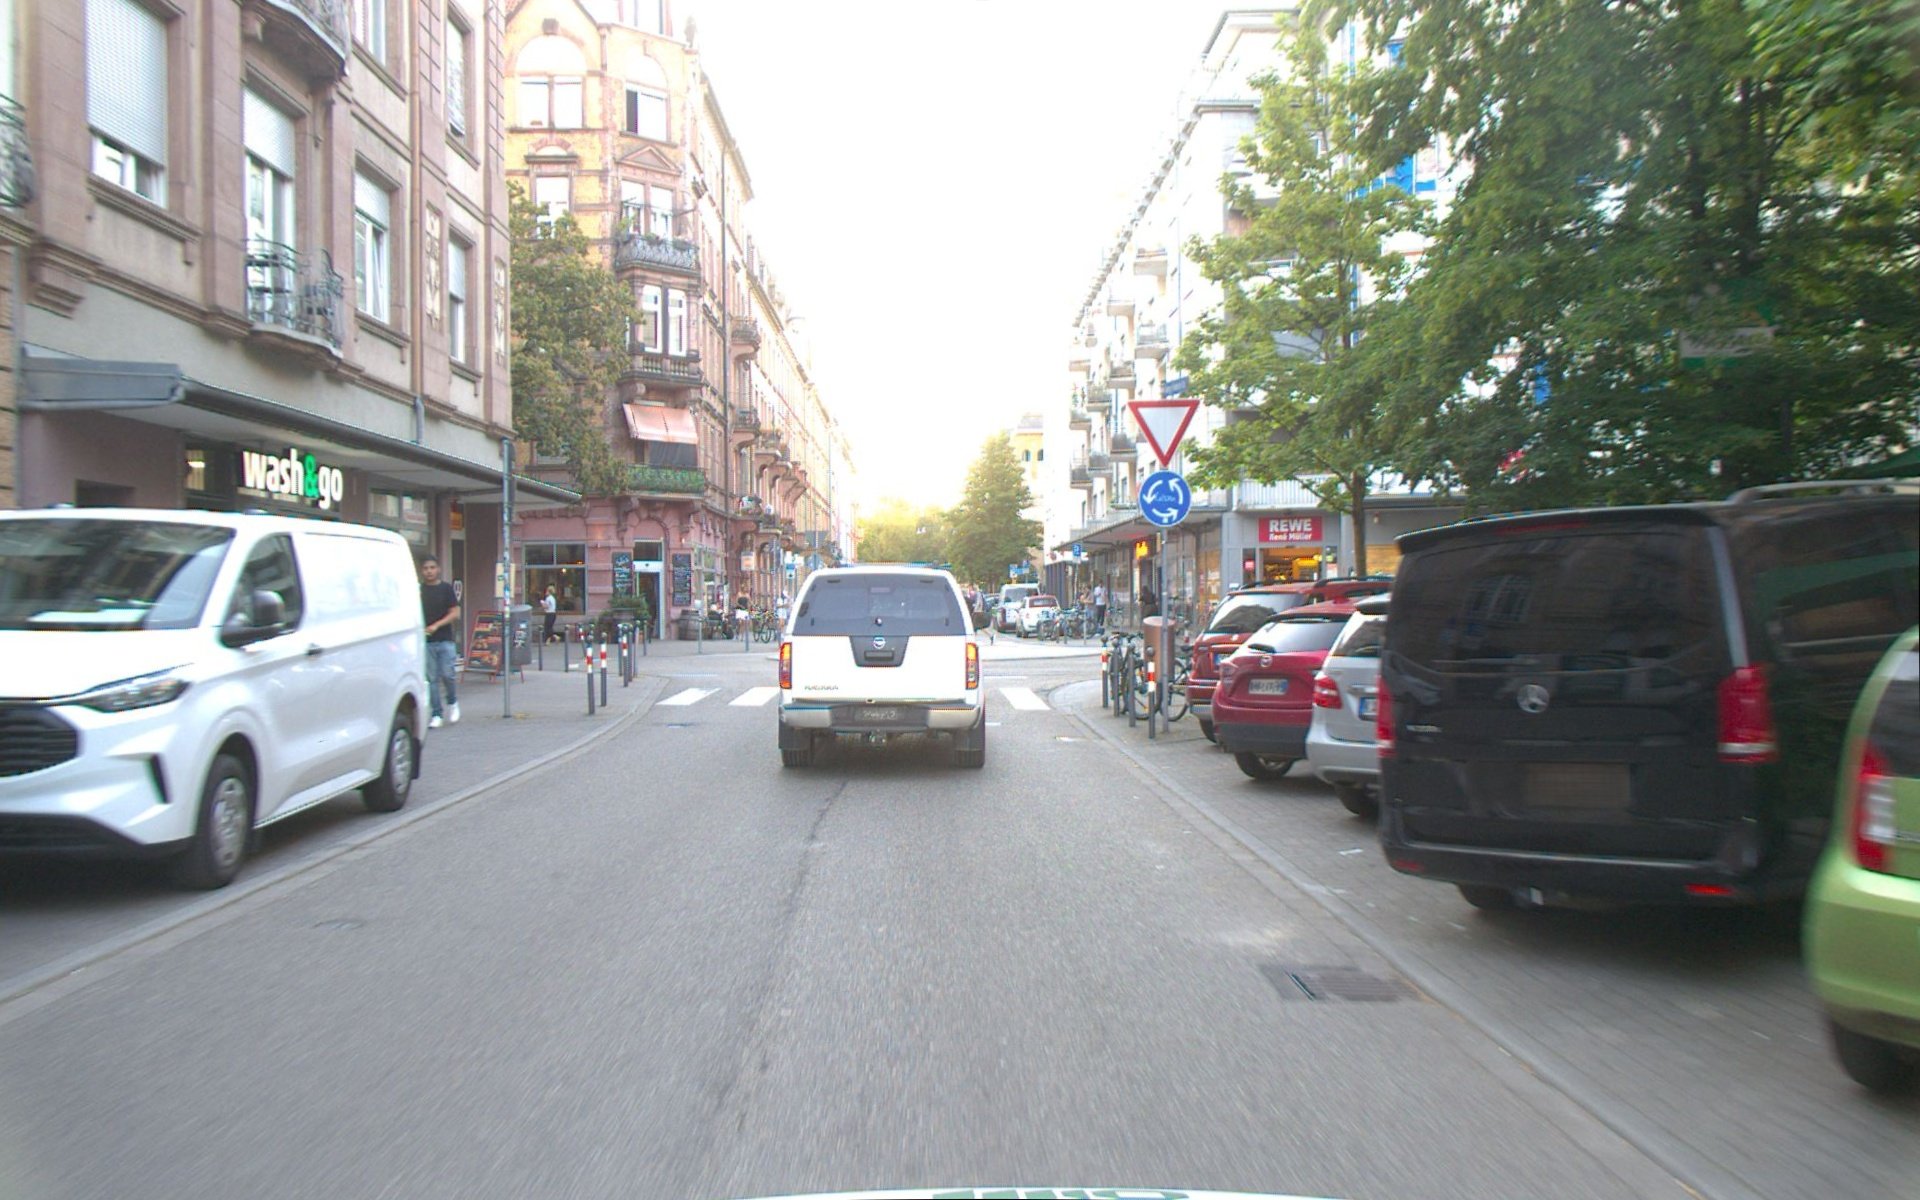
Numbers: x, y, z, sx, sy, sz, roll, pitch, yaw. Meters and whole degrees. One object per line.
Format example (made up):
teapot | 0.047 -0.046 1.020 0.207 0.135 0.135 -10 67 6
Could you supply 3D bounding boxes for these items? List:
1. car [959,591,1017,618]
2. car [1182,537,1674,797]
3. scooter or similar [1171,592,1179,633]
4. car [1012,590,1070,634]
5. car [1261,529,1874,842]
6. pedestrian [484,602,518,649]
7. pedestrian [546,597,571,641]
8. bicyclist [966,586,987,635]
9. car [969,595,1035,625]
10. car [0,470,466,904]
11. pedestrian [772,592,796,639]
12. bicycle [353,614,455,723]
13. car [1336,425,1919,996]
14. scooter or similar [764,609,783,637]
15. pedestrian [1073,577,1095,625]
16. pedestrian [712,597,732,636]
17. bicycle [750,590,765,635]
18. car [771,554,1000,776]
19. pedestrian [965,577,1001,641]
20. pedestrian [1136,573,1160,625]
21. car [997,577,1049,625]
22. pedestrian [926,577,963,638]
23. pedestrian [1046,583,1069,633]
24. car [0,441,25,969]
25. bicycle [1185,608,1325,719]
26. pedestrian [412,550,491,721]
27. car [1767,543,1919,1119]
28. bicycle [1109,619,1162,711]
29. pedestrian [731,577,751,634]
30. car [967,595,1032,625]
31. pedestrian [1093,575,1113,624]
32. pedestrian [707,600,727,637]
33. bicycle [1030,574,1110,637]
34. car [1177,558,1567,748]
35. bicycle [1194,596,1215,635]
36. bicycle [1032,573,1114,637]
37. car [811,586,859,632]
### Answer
car | 1.897 0.338 113.642 3.907 1.780 1.840 1 -1 -3
car | 4.005 0.445 13.837 4.186 1.717 1.905 -4 1 -40
scooter or similar | 6.816 0.394 52.409 0.214 1.259 0.967 0 1 6
car | 2.992 0.455 61.513 1.798 1.569 3.998 1 0 -2
car | 4.270 0.449 11.410 4.177 1.650 1.910 -4 1 -35
pedestrian | -12.846 0.710 46.292 0.739 1.284 0.668 1 -1 -2
pedestrian | -11.896 0.568 49.037 0.446 1.284 0.575 0 -1 23
bicyclist | 0.673 0.423 68.142 0.820 1.978 0.785 1 -1 3
car | 2.577 0.604 101.621 3.907 1.780 1.840 1 -1 -3
car | -4.654 0.390 9.940 2.067 1.955 5.023 0 0 -3
pedestrian | -6.228 0.552 58.436 0.782 1.649 0.944 1 -1 -4
bicycle | -6.225 0.744 18.594 0.461 1.162 1.785 1 -1 2
car | 4.419 0.280 8.579 5.387 2.108 1.905 -4 1 -40
scooter or similar | -6.394 0.781 56.710 0.230 0.945 1.255 1 -1 -26
pedestrian | 4.420 0.033 58.889 0.705 1.692 0.702 1 -1 -1
pedestrian | -8.136 0.571 56.546 0.636 1.308 0.539 1 -1 -5
bicycle | -6.731 0.429 55.010 0.415 1.468 1.902 1 -1 -6
car | -0.597 0.484 16.209 1.898 1.841 5.002 0 1 0
pedestrian | 0.689 0.272 49.513 0.895 1.918 0.609 1 -1 -32
pedestrian | 6.185 -0.025 54.355 0.705 1.692 0.702 1 -1 0
car | 2.657 0.051 70.287 1.903 1.967 3.998 1 0 -2
pedestrian | -0.461 0.232 48.281 0.605 1.767 0.900 0 -1 44
pedestrian | 3.317 0.271 56.167 0.705 1.692 0.702 1 -1 -1
car | -4.434 0.393 3.850 1.799 1.955 4.845 0 0 -1
bicycle | 3.319 0.699 18.599 1.522 1.181 0.363 -2 0 -16
pedestrian | -5.705 0.392 18.592 0.525 1.855 0.997 1 -1 2
car | 4.584 0.527 5.246 4.059 1.578 1.798 -4 1 -33
bicycle | 2.163 0.784 20.512 0.357 1.082 1.550 1 -1 -5
pedestrian | -7.265 0.185 54.916 0.497 1.872 0.568 1 -1 -24
car | 2.466 0.620 103.856 3.907 1.780 1.840 1 -1 -3
pedestrian | 5.734 -0.015 66.199 0.705 1.940 0.702 1 -1 -1
pedestrian | -8.137 0.611 55.359 0.636 1.211 0.539 1 -1 -5
bicycle | 3.632 0.173 54.869 2.593 2.049 0.638 1 -1 -1
car | 4.332 0.461 17.183 4.000 1.656 1.673 -3 2 -34
bicycle | 7.135 0.456 48.271 0.284 1.132 0.963 1 -1 -14
bicycle | 3.691 0.168 54.056 2.593 2.049 0.638 1 -1 -1
car | -5.081 0.373 67.566 1.798 1.780 3.998 1 0 -2
